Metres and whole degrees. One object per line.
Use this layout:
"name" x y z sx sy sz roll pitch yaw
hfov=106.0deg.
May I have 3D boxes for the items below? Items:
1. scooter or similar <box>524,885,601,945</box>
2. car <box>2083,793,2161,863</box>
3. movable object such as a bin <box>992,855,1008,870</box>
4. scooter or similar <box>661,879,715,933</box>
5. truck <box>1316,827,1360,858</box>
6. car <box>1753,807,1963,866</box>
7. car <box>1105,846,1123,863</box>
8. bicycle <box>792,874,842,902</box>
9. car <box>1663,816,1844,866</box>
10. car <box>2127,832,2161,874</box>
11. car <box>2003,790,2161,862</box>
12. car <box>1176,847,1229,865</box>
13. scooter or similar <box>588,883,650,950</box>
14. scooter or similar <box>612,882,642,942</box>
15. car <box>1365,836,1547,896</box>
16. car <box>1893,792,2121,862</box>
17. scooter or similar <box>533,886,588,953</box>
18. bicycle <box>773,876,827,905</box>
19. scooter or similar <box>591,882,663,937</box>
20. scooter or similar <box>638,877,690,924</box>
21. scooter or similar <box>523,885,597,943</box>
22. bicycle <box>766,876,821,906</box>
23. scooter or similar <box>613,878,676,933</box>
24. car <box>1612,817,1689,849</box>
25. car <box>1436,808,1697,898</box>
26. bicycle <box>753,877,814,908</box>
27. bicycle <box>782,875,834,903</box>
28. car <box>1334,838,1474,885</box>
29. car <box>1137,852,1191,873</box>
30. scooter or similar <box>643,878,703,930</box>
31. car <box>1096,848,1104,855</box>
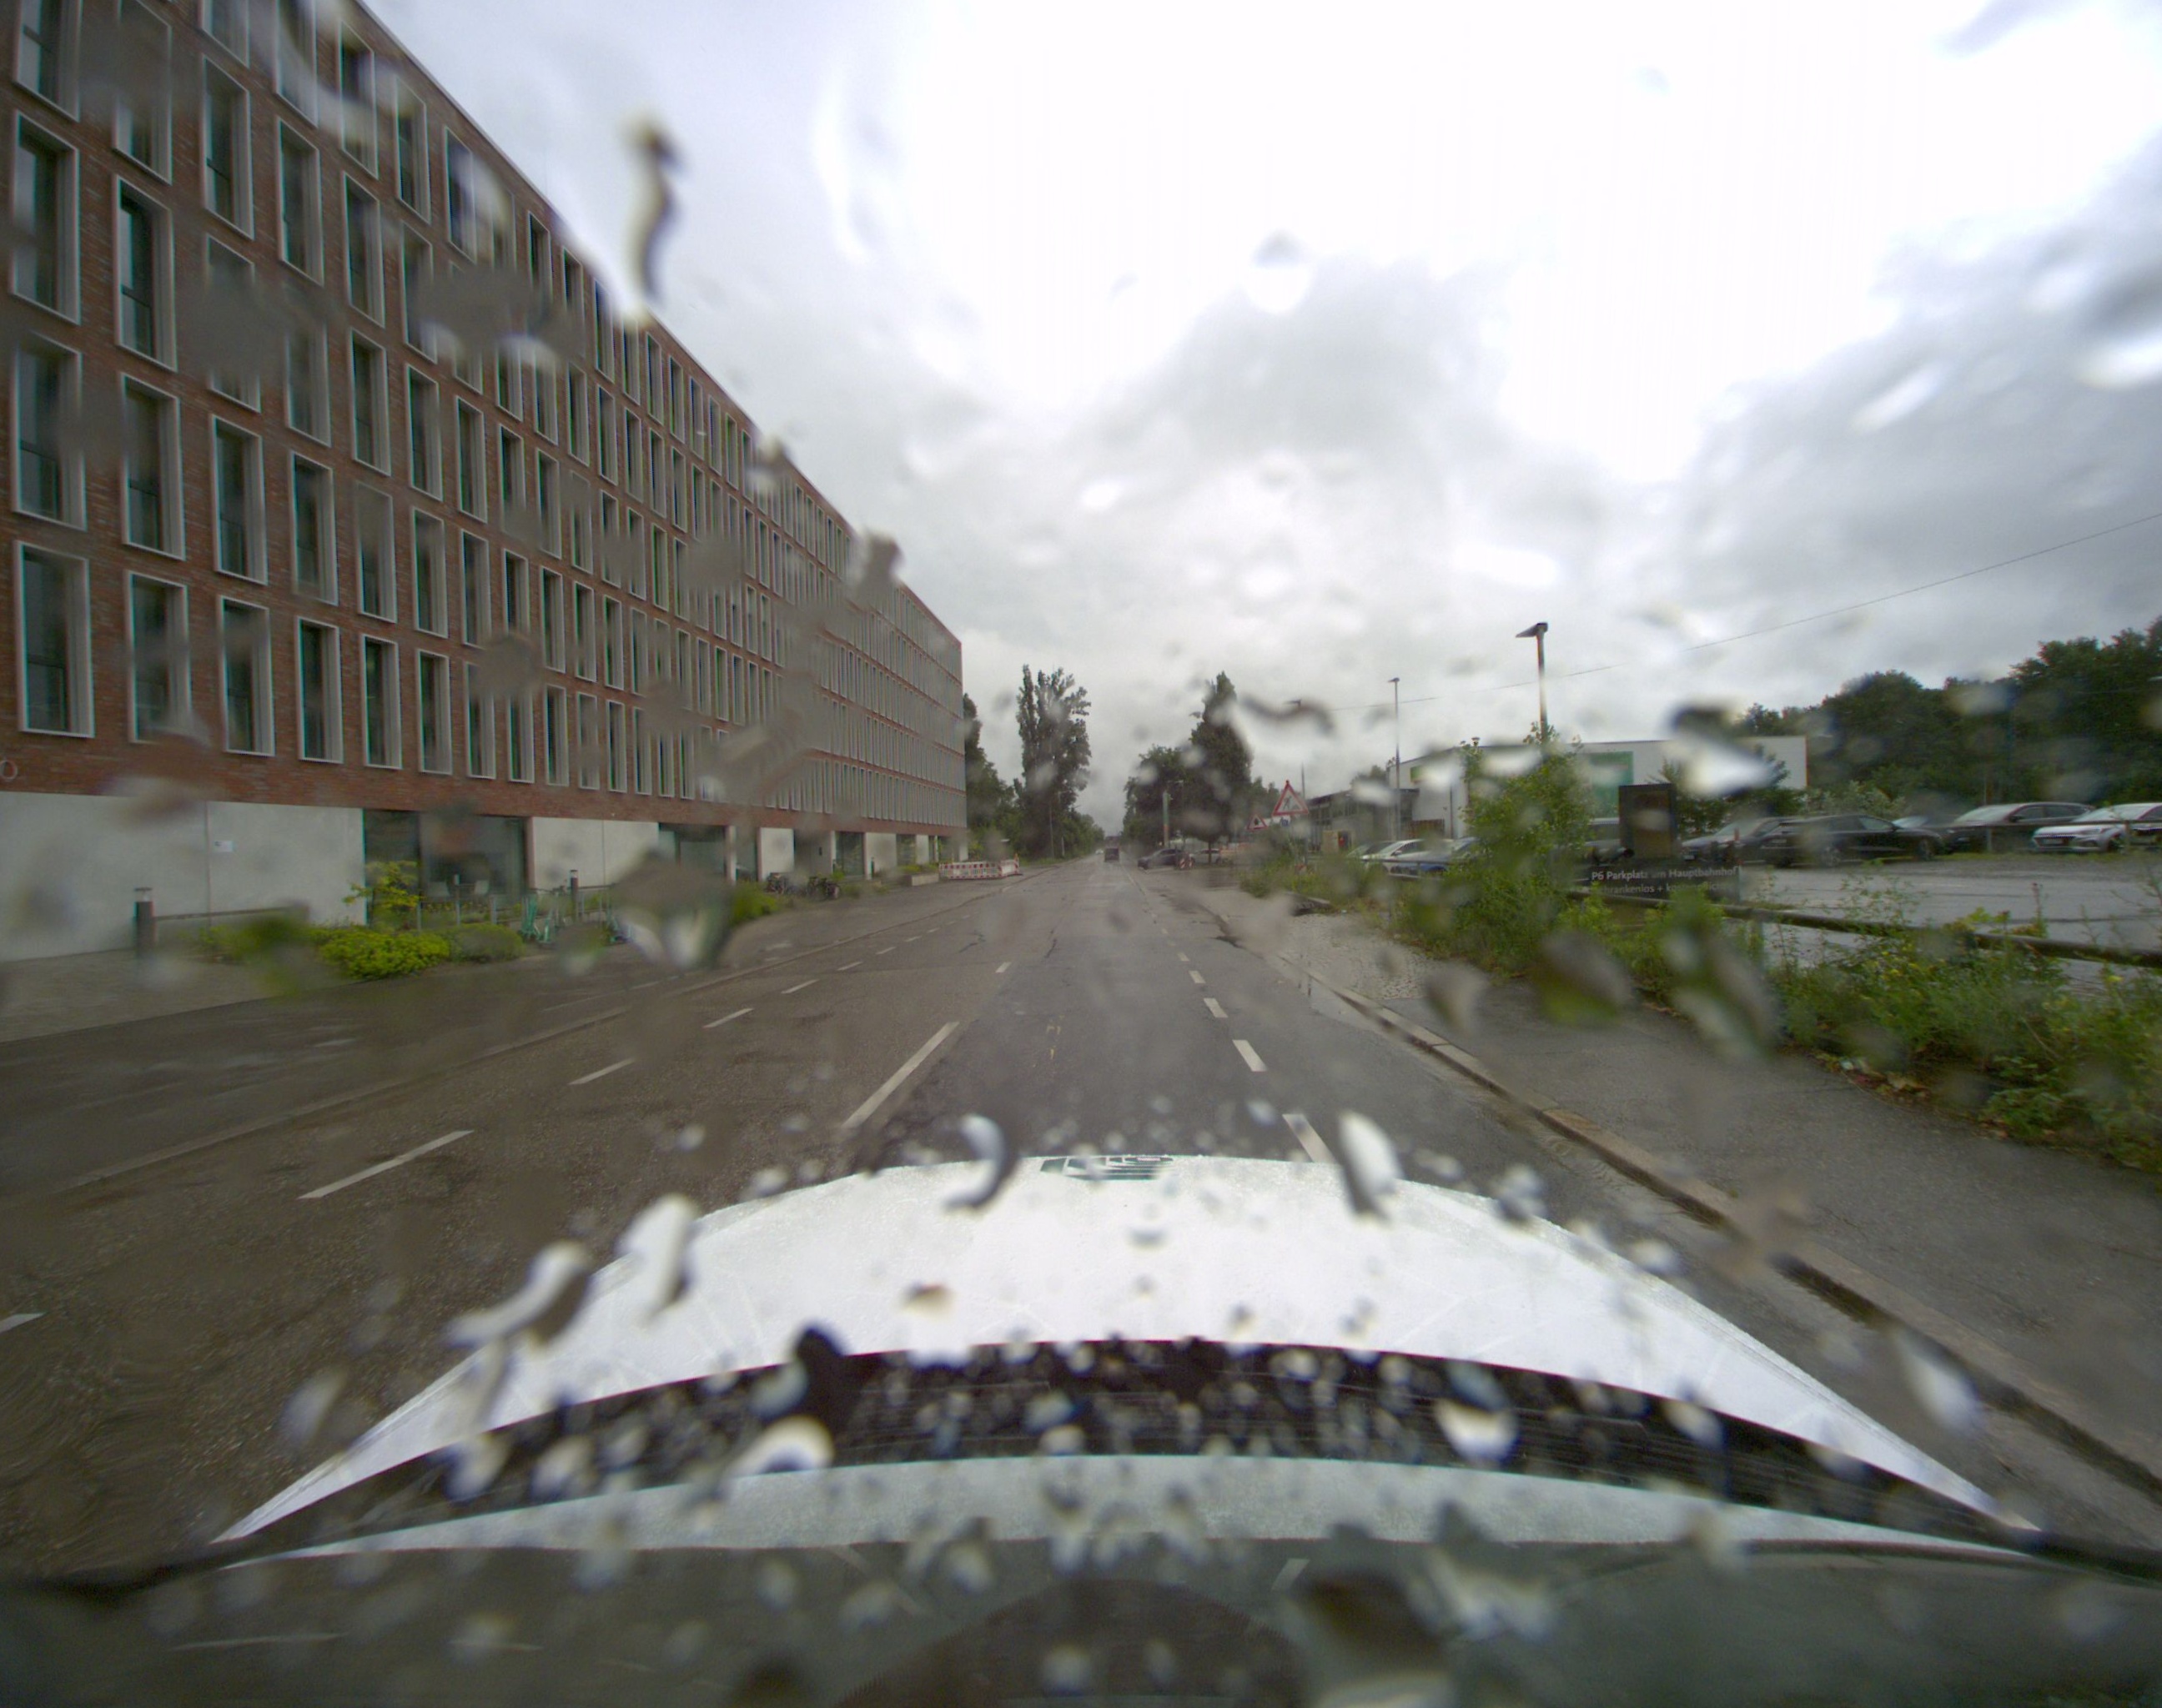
"scooter or similar" -10.863 1.276 17.075 1.309 1.177 0.468 -3 0 8
"car" 27.053 -0.762 19.102 4.425 1.605 2.044 -4 -1 1
"movable object such as a bin" -7.183 0.744 71.990 1.293 1.308 1.446 -2 0 -4
"scooter or similar" -9.305 1.225 19.288 1.304 1.230 0.470 -3 0 31
"truck" 23.888 -1.063 75.898 2.290 2.659 7.428 -3 0 6
"car" 22.076 -0.464 23.288 3.970 1.485 2.001 -1 -1 3
"car" 4.034 0.087 100.145 1.986 1.910 4.202 -3 0 1
"bicycle" -10.579 1.360 32.657 1.852 1.077 0.544 0 0 1
"car" 21.117 -0.384 25.719 3.970 1.409 2.001 -1 -1 3
"car" 38.711 -0.086 27.614 3.971 1.396 1.892 -2 1 2
"car" 27.816 -0.787 21.520 4.425 1.672 2.044 -4 -1 1
"car" 11.258 0.174 75.535 4.687 1.462 1.891 -1 0 0
"scooter or similar" -9.438 1.249 16.678 0.464 1.230 1.320 -3 0 -1
"scooter or similar" -10.023 1.256 18.001 0.468 1.230 1.309 -3 0 -26
"car" 10.428 0.332 22.898 4.278 1.517 1.821 -1 -1 2
"car" 27.550 -0.761 24.349 4.428 1.672 2.043 -4 -1 -1
"scooter or similar" -10.287 1.279 16.071 1.304 1.230 0.511 -3 0 41
"bicycle" -10.683 1.381 30.956 1.852 1.077 0.544 0 0 1
"scooter or similar" -10.540 1.275 18.924 1.316 1.177 0.466 -3 0 -10
"scooter or similar" -11.547 1.286 22.538 1.219 1.208 0.419 -3 0 9
"scooter or similar" -11.285 1.293 17.640 1.309 1.177 0.468 -3 0 8
"bicycle" -10.696 1.374 30.297 1.852 1.077 0.544 0 0 1
"scooter or similar" -10.597 1.235 19.806 0.461 1.230 1.215 -3 0 44
"car" 36.709 -1.330 52.599 1.779 1.823 4.380 -3 0 -1
"car" 11.002 0.007 18.818 4.657 1.735 2.132 -3 -1 6
"bicycle" -10.717 1.375 29.378 1.941 1.077 0.621 0 0 1
"bicycle" -10.665 1.366 31.859 1.852 1.077 0.544 0 0 1
"car" 11.266 0.275 28.598 4.164 1.510 1.892 -1 -1 2
"car" 6.933 0.677 68.290 4.133 1.569 1.760 -2 -1 -8
"scooter or similar" -10.323 1.246 20.633 0.461 1.208 1.215 -3 0 44
"car" 5.015 -0.648 215.144 1.726 1.450 4.385 -5 0 3
